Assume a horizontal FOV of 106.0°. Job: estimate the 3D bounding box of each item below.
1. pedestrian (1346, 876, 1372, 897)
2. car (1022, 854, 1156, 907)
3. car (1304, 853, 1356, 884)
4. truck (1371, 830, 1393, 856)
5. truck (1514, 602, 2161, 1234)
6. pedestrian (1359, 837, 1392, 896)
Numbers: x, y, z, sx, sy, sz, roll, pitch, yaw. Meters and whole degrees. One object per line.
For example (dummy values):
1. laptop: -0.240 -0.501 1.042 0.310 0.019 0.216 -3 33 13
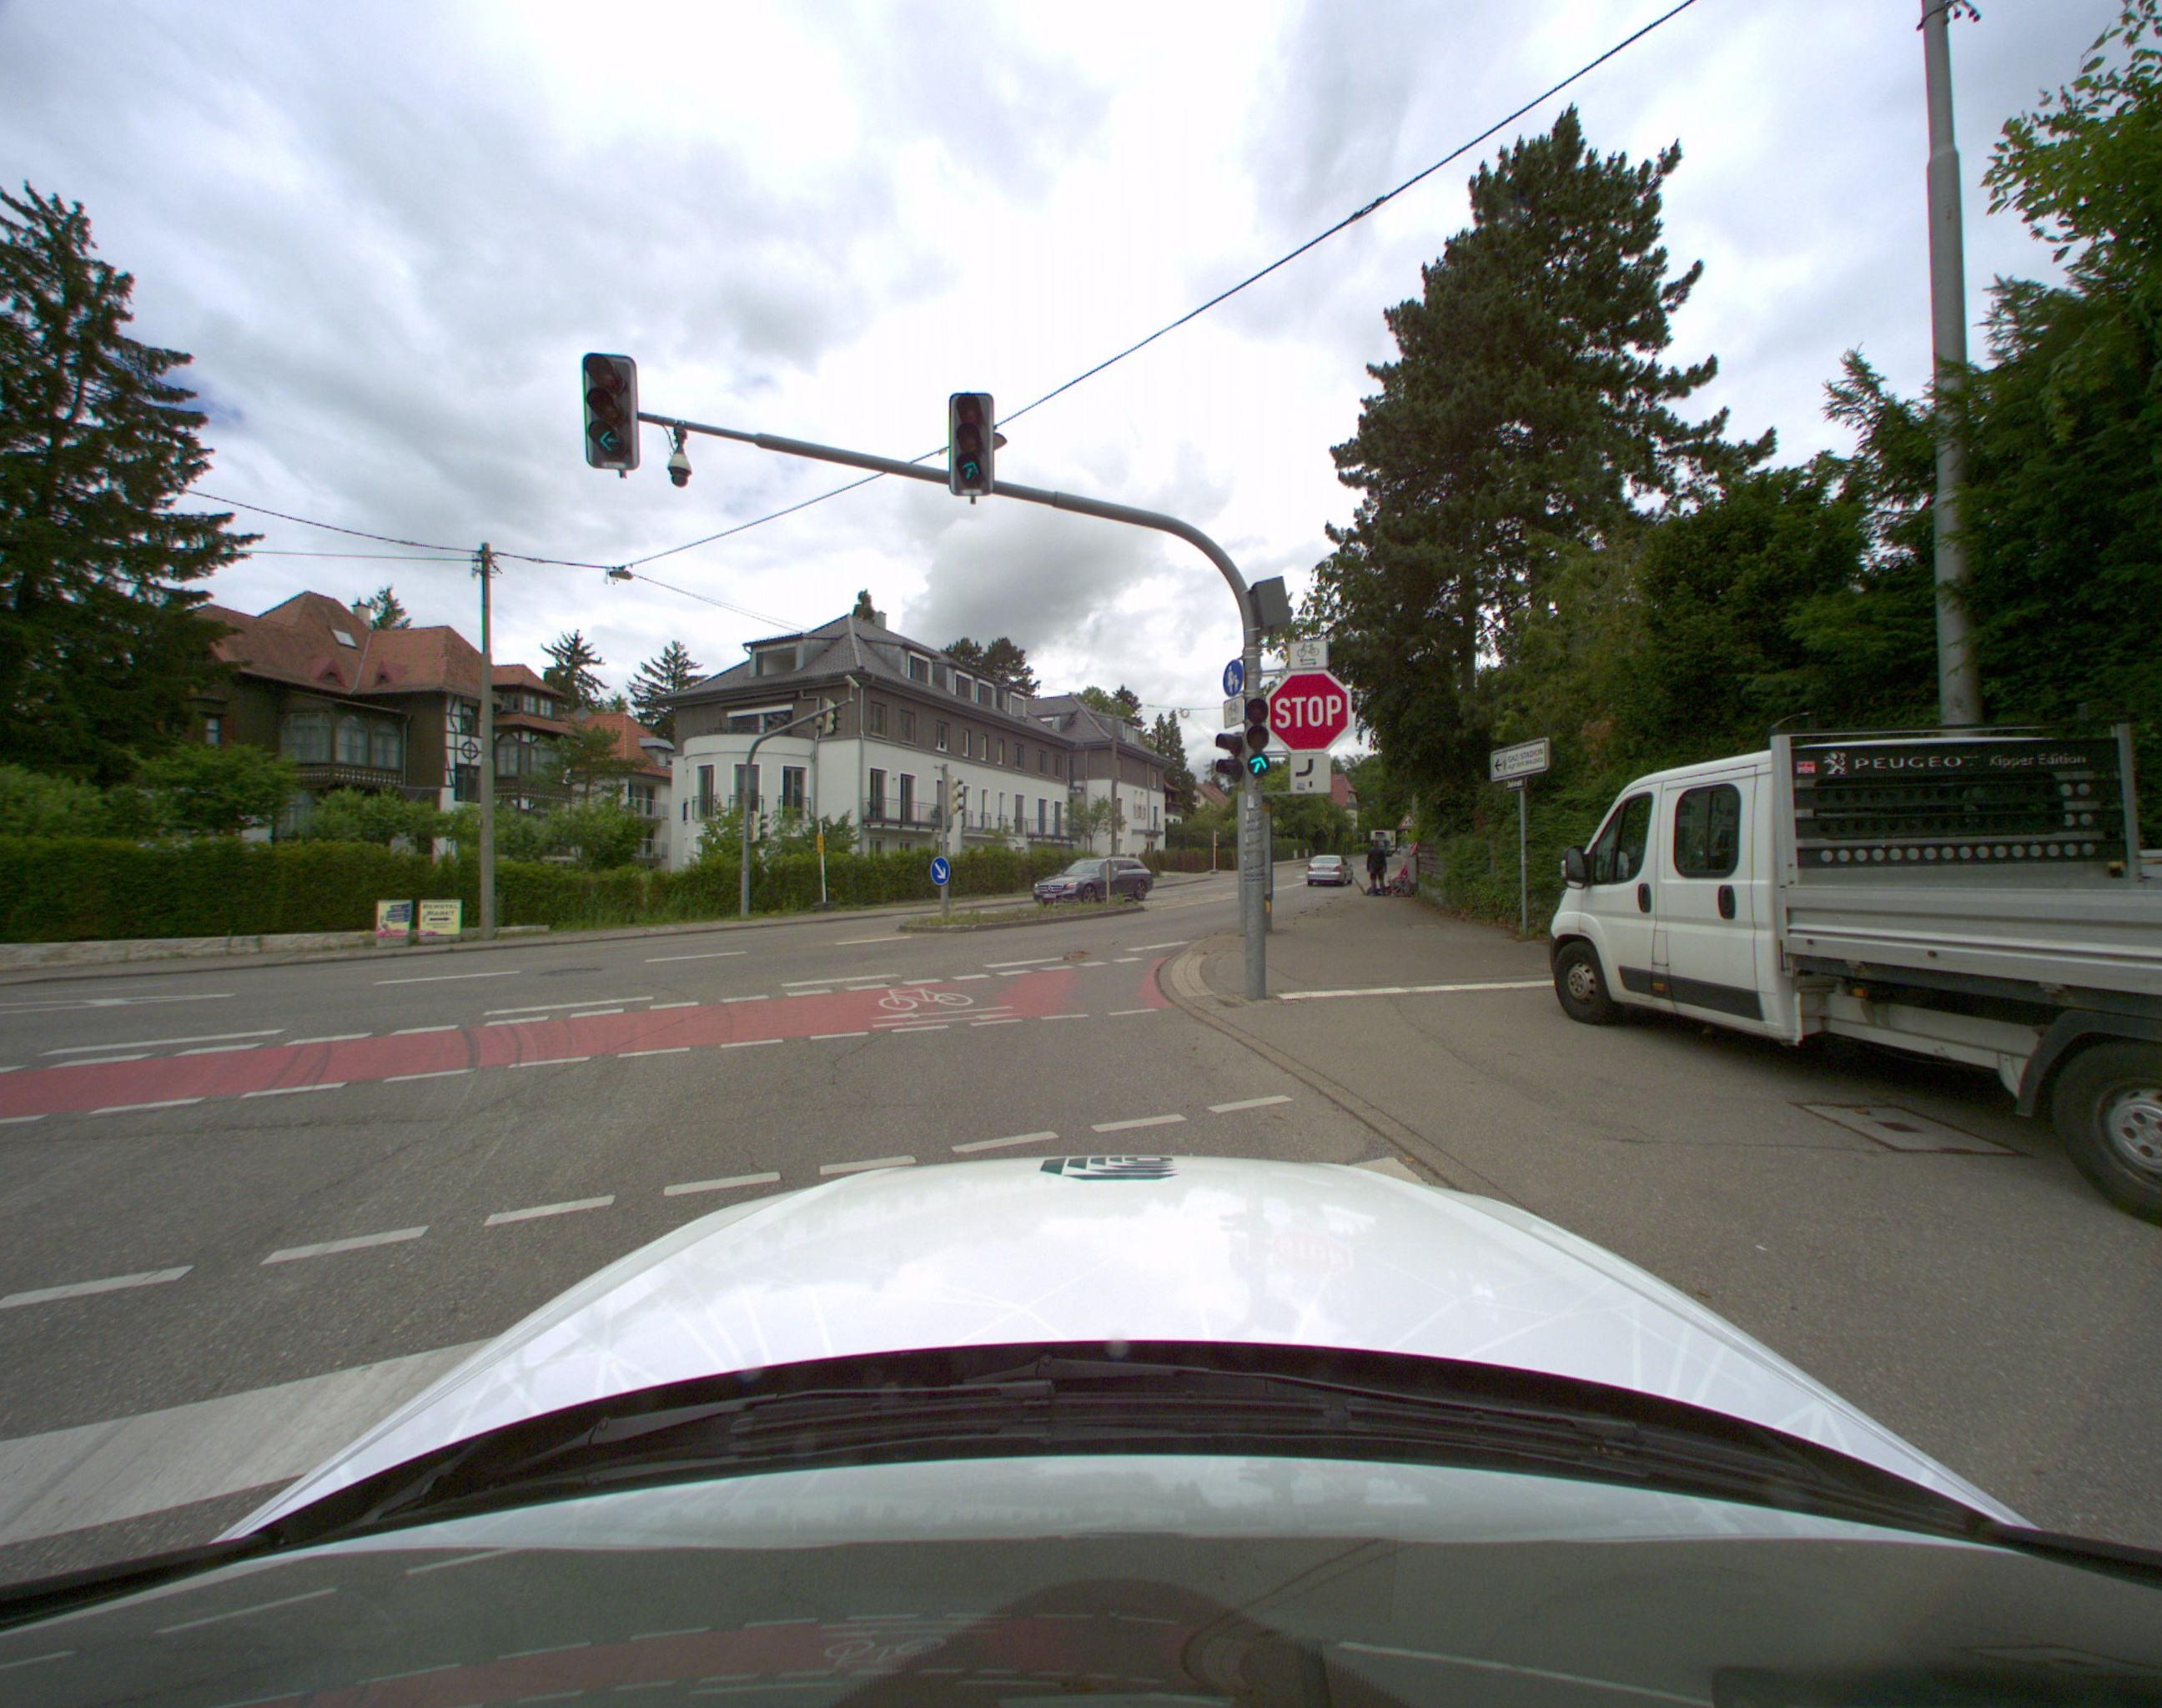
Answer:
1. pedestrian: 9.596 1.120 28.094 0.646 0.696 0.581 -1 0 -17
2. car: 0.370 0.793 26.143 1.807 1.485 4.778 -2 0 36
3. car: 11.869 0.673 38.616 1.781 1.415 4.360 -1 -1 25
4. truck: 41.825 -1.478 113.024 2.754 3.461 7.532 -1 -1 21
5. truck: 5.356 0.257 5.051 2.386 2.352 6.195 0 -1 4
6. pedestrian: 9.792 0.411 27.115 0.842 1.923 0.802 -1 0 4
